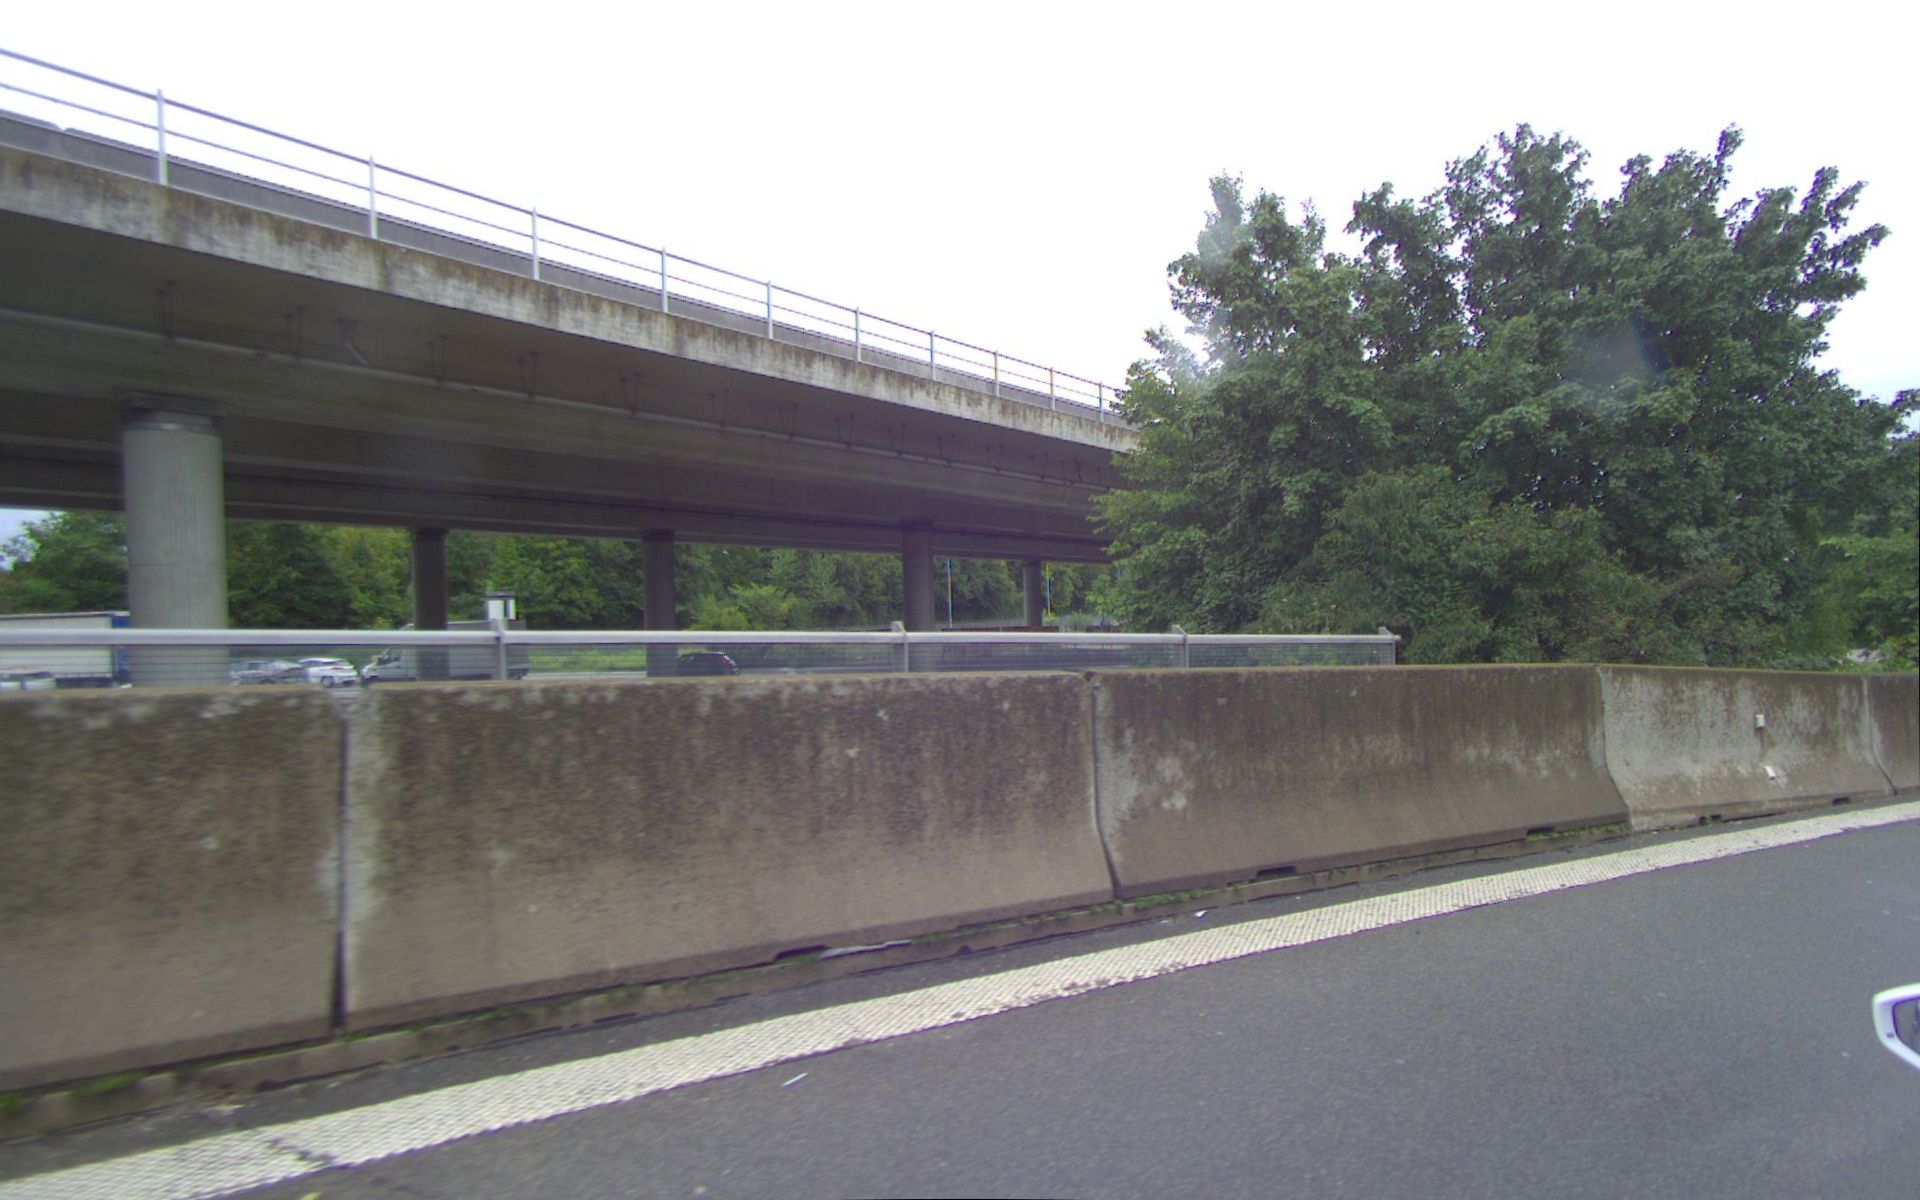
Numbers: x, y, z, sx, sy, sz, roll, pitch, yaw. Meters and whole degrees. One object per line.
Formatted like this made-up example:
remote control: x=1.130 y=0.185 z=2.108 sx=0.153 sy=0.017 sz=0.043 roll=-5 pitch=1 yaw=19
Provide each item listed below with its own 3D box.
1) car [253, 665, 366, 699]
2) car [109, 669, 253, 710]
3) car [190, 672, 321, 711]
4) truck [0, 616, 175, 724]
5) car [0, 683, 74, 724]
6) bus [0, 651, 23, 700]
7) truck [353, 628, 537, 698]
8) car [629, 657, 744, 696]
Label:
car: x=-33.123 y=4.141 z=51.216 sx=4.499 sy=1.604 sz=1.976 roll=-1 pitch=-2 yaw=2
car: x=-32.589 y=3.734 z=42.115 sx=4.500 sy=1.604 sz=1.976 roll=-1 pitch=-2 yaw=0
car: x=-31.531 y=4.104 z=45.040 sx=4.499 sy=1.604 sz=1.976 roll=-1 pitch=-2 yaw=3
truck: x=-41.280 y=3.176 z=45.482 sx=9.410 sy=4.651 sz=2.801 roll=-1 pitch=-2 yaw=2
car: x=-40.568 y=4.358 z=42.445 sx=4.500 sy=1.604 sz=1.976 roll=-1 pitch=-2 yaw=0
bus: x=-78.551 y=5.781 z=76.767 sx=9.827 sy=3.749 sz=2.207 roll=3 pitch=-2 yaw=-39
truck: x=-22.844 y=2.774 z=44.711 sx=7.087 sy=3.016 sz=2.262 roll=0 pitch=-2 yaw=4
car: x=-11.989 y=3.364 z=44.249 sx=4.500 sy=1.604 sz=1.976 roll=-1 pitch=-2 yaw=0
